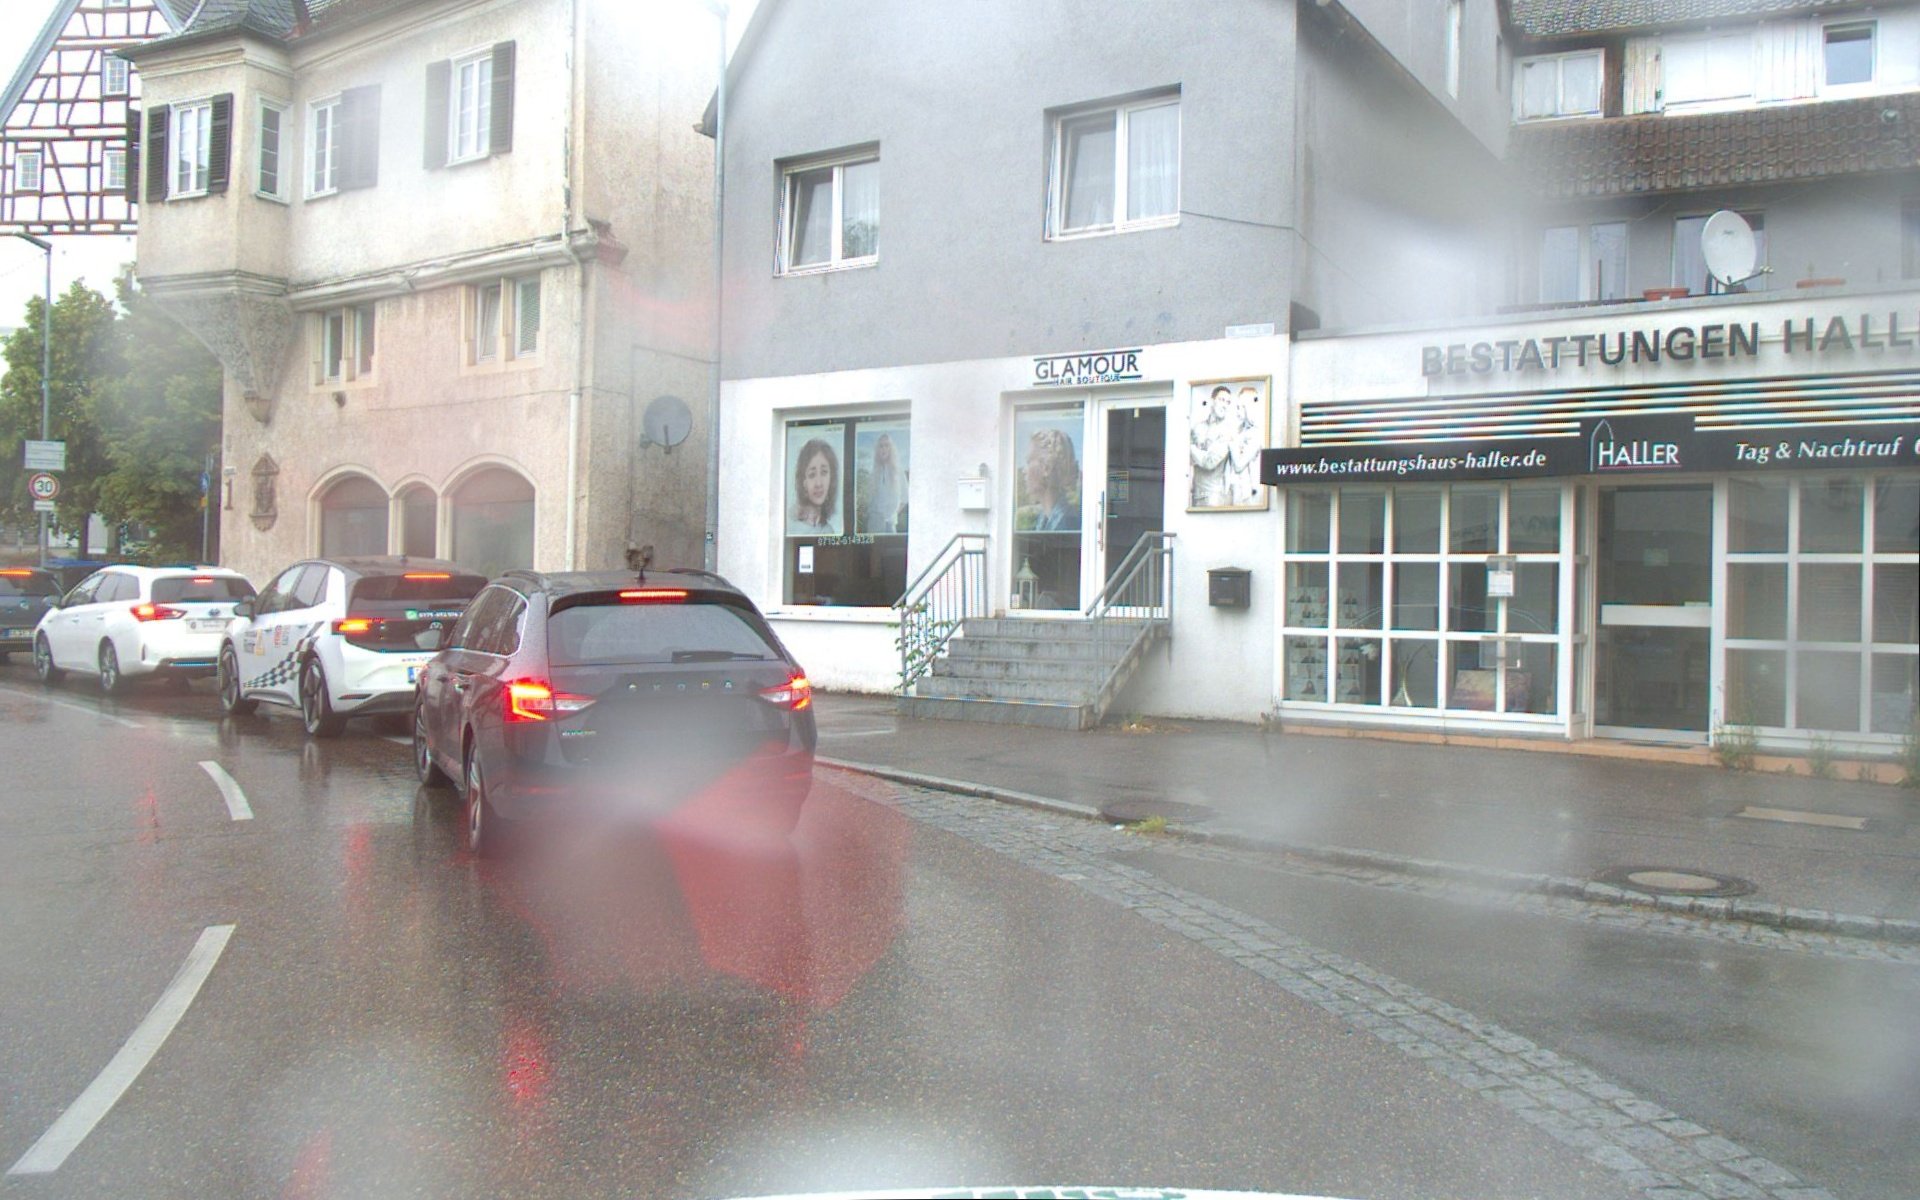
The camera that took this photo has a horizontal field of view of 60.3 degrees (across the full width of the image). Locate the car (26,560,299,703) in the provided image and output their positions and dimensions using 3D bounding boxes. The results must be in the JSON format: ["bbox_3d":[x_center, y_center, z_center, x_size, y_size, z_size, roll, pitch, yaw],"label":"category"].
[{"bbox_3d":[-9.755,0.290,20.090,1.778,1.490,4.096,-1,3,-45],"label":"car"}]

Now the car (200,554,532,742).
[{"bbox_3d":[-5.792,0.356,15.821,1.777,1.543,4.183,-1,1,-38],"label":"car"}]

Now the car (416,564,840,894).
[{"bbox_3d":[-2.201,0.551,9.946,1.709,1.475,4.212,0,2,-23],"label":"car"}]

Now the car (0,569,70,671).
[{"bbox_3d":[-14.921,0.260,24.926,3.701,1.385,1.514,2,3,42],"label":"car"}]
